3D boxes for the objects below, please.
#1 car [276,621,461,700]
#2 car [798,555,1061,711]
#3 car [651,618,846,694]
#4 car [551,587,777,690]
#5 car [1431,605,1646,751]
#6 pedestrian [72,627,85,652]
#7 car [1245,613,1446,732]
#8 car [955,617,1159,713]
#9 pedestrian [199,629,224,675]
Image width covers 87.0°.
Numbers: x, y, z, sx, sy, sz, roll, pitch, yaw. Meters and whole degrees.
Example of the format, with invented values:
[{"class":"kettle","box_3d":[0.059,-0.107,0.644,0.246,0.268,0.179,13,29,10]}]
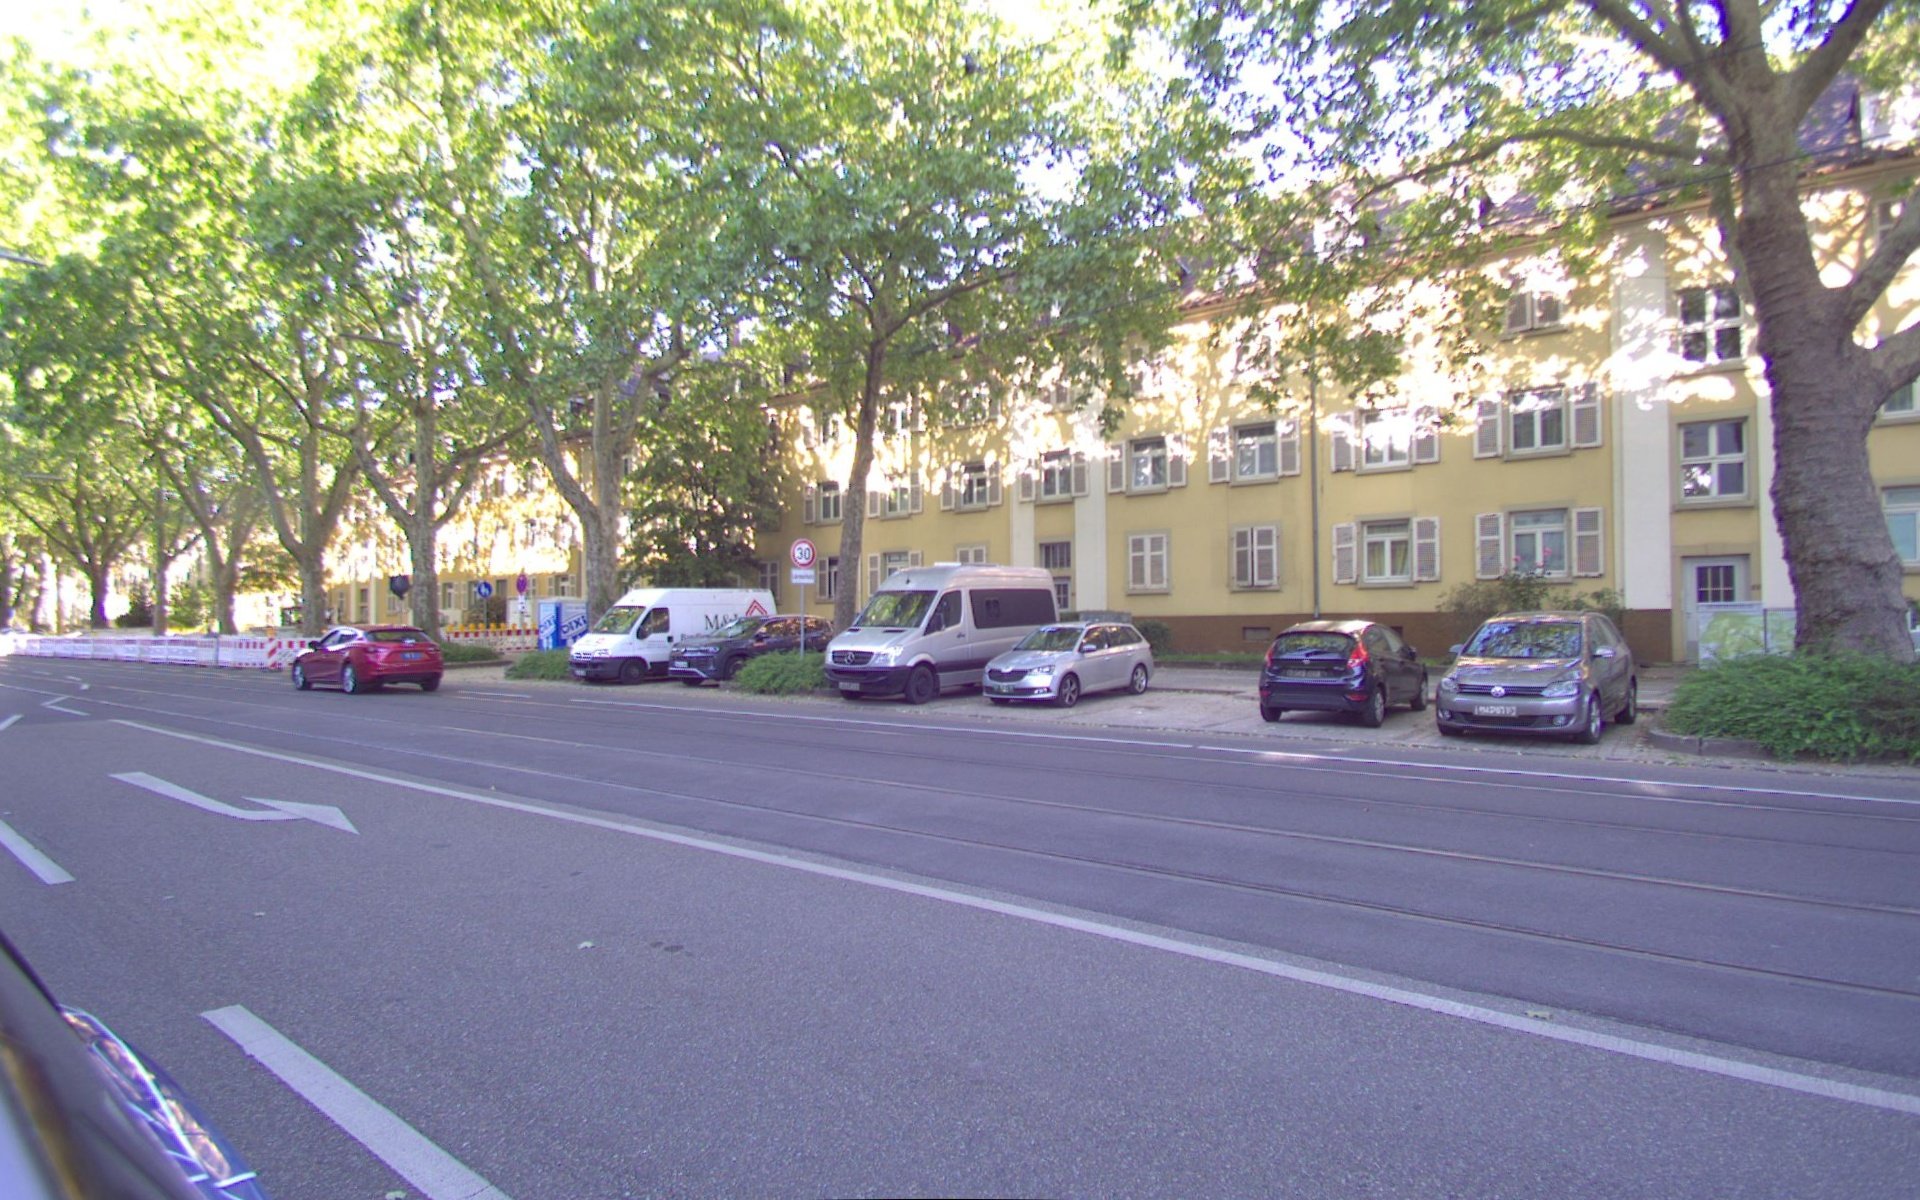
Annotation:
[{"class":"car","box_3d":[-13.138,1.277,22.399,4.484,1.577,1.997,-2,-2,37]},{"class":"car","box_3d":[-0.432,0.609,20.449,2.221,2.702,5.596,-2,-1,38]},{"class":"car","box_3d":[-4.984,1.277,24.450,1.772,1.664,4.570,-2,-2,38]},{"class":"car","box_3d":[-7.567,0.965,26.376,2.222,2.394,5.336,-2,-2,40]},{"class":"car","box_3d":[7.738,0.899,13.370,1.672,1.592,3.928,-2,-1,41]},{"class":"pedestrian","box_3d":[-68.262,3.078,78.362,0.722,1.900,0.666,-1,0,-42]},{"class":"car","box_3d":[5.961,1.001,15.421,1.671,1.509,3.756,-2,-1,41]},{"class":"car","box_3d":[1.906,1.121,18.838,1.773,1.509,4.031,-2,-1,41]},{"class":"pedestrian","box_3d":[-29.431,2.039,39.781,0.582,1.759,0.644,-1,0,36]}]
